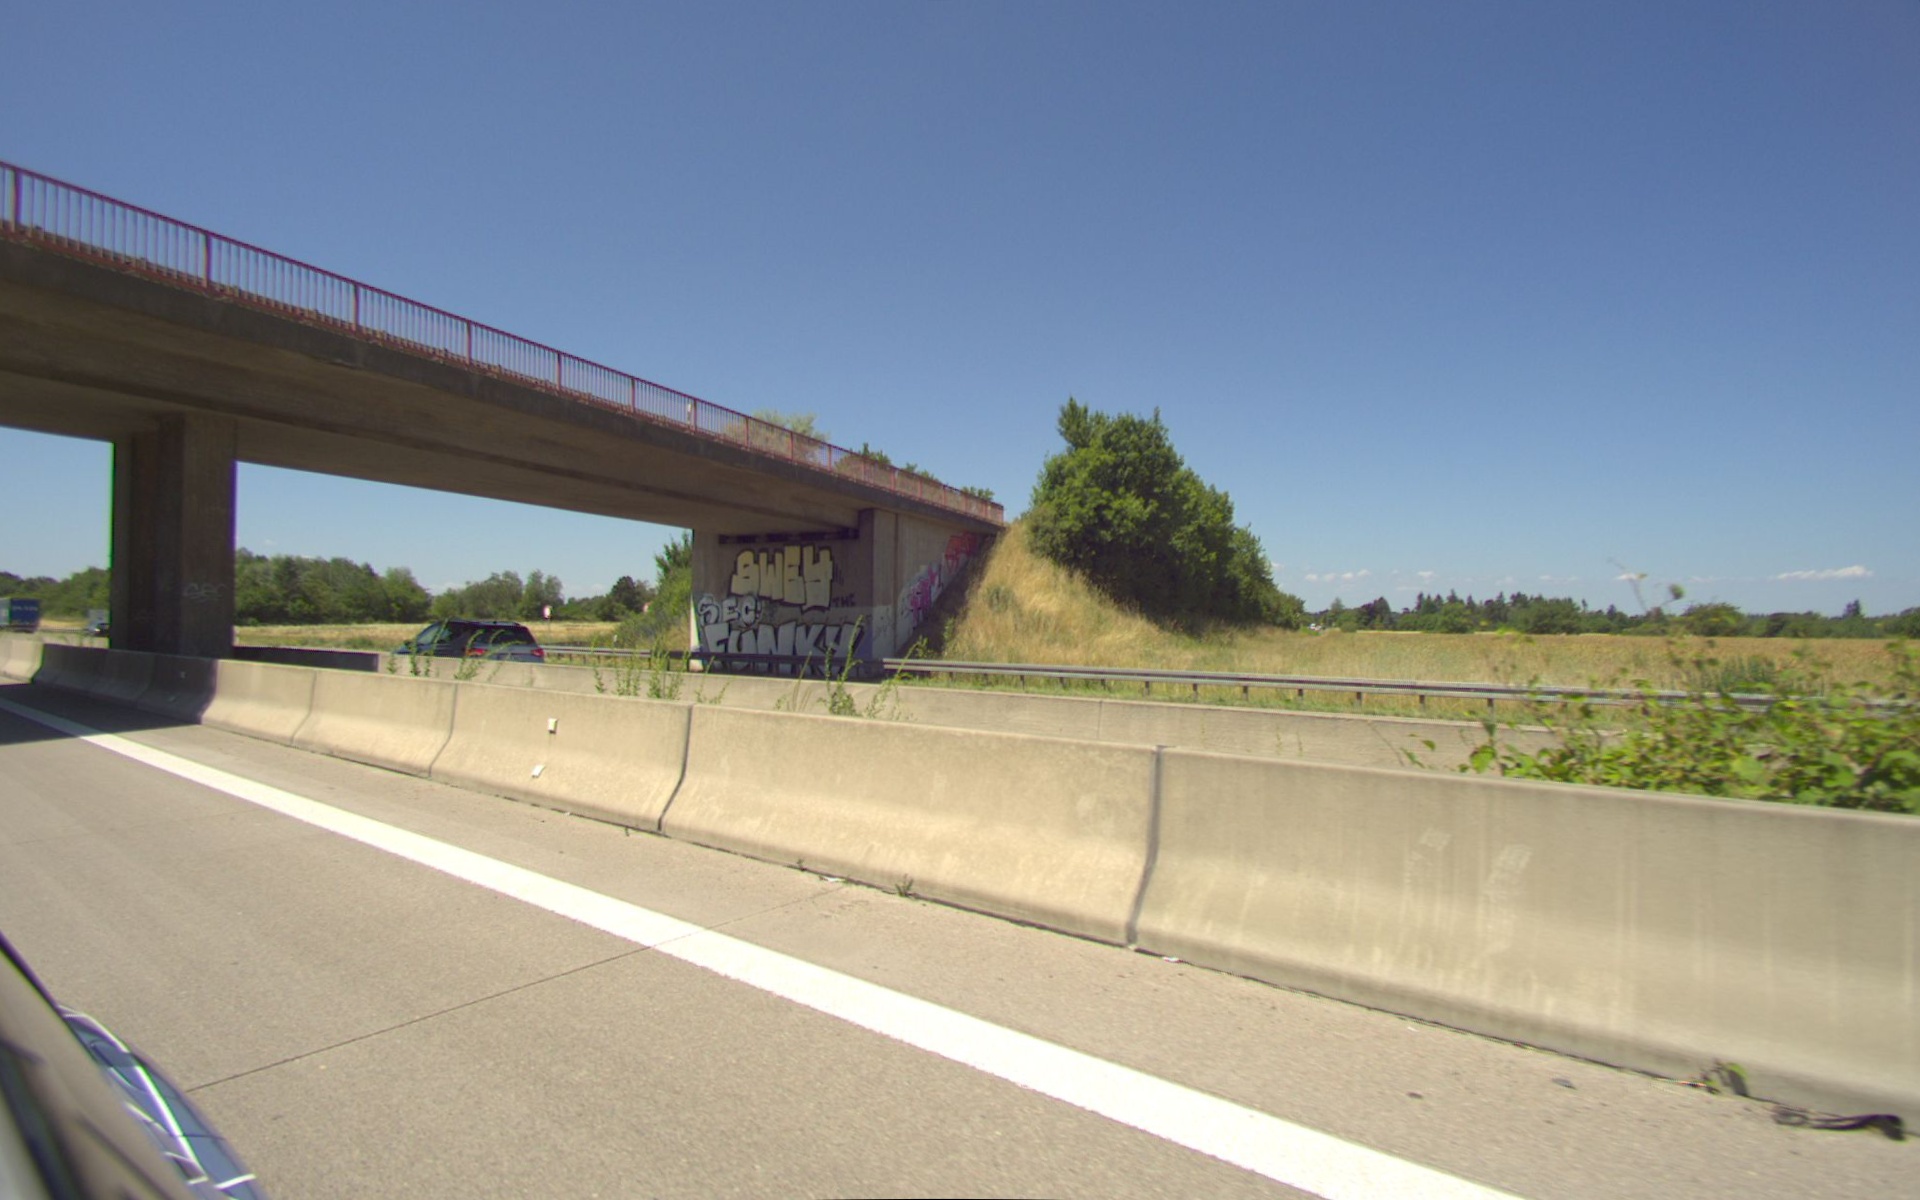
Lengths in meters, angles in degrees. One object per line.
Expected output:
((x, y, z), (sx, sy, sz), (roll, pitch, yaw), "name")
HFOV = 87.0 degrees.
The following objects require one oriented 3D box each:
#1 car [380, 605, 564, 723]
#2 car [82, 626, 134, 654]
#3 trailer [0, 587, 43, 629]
((-9.591, 1.147, 19.770), (3.998, 2.029, 1.819), (-1, 0, 41), "car")
((-52.081, 2.422, 61.822), (3.858, 1.631, 1.748), (-1, -2, 39), "car")
((-103.643, 0.875, 110.741), (13.492, 4.412, 3.232), (-1, 0, 40), "trailer")
